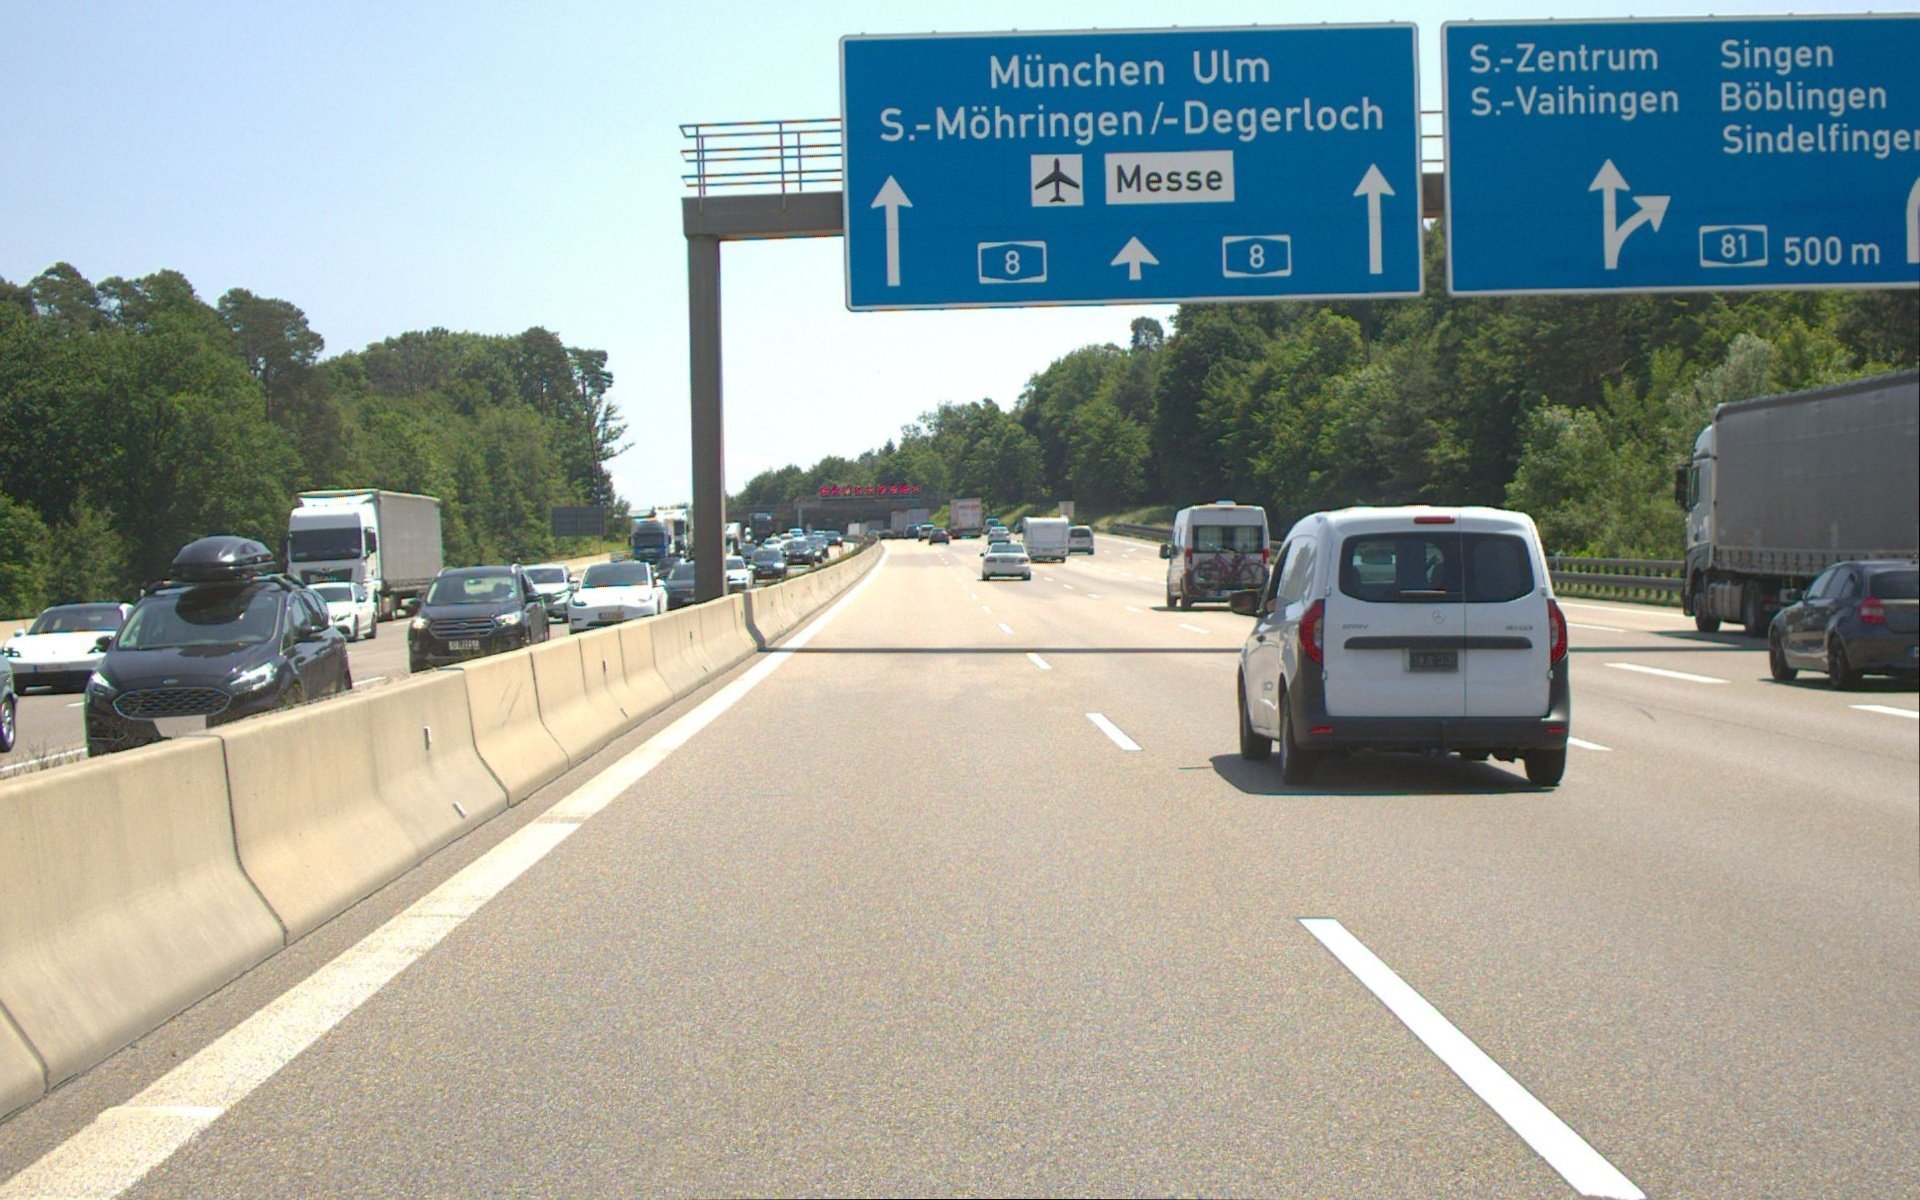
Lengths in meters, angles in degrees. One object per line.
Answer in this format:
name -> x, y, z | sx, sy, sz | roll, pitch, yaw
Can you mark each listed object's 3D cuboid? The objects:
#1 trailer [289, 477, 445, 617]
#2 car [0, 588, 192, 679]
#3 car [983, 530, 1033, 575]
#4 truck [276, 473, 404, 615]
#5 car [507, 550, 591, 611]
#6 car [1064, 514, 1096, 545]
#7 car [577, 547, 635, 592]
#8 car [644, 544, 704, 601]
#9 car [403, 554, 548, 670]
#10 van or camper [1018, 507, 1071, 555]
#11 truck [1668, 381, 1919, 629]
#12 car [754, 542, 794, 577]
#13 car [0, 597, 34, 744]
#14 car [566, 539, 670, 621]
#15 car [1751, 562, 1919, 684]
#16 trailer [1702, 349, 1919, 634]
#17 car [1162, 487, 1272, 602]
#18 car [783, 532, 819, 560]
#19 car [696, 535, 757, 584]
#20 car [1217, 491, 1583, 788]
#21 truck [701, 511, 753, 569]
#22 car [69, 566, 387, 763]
trailer -> -19.419, -1.660, 113.527 | 2.754, 4.231, 13.719 | -2, 0, -1
car -> -14.043, 0.512, 55.909 | 1.993, 1.302, 4.845 | -2, 1, 0
car -> 1.855, -1.846, 134.987 | 1.843, 1.623, 4.553 | -2, 0, 0
truck -> -19.341, -1.711, 107.516 | 2.760, 4.205, 6.378 | -2, 0, -1
car -> -11.377, -0.558, 95.327 | 1.818, 1.584, 4.883 | -2, 1, -1
car -> 7.599, -4.473, 217.579 | 1.820, 1.853, 4.000 | -2, 1, -1
car -> -11.988, -1.056, 116.676 | 1.548, 1.437, 4.725 | -1, 1, -1
car -> -8.179, -0.792, 98.472 | 1.536, 1.545, 4.071 | -2, 1, -3
car -> -7.520, 0.148, 53.698 | 1.754, 1.667, 4.204 | -2, 1, -2
van or camper -> 4.630, -3.809, 190.396 | 2.645, 2.530, 6.502 | -2, 0, -1
truck -> 14.610, -1.638, 59.857 | 3.254, 4.092, 5.988 | 0, 1, -1
car -> -8.463, -1.839, 156.523 | 1.723, 1.532, 5.056 | -2, 1, -3
car -> -10.449, 0.776, 33.891 | 1.549, 1.450, 3.840 | -3, 1, 0
car -> -7.444, -0.468, 75.173 | 1.812, 1.667, 4.476 | -2, 1, 0
car -> 10.125, 0.224, 38.128 | 1.670, 1.269, 4.290 | 1, 1, 0
trailer -> 14.748, -1.606, 53.081 | 3.287, 3.917, 13.892 | 0, 1, -1
car -> 6.166, -1.354, 83.002 | 2.143, 2.643, 5.710 | -1, 1, 0
car -> -9.473, -3.202, 204.828 | 1.993, 1.612, 4.000 | -2, 1, -1
car -> -8.341, -1.469, 123.185 | 1.846, 1.545, 5.215 | -4, 1, -1
car -> 2.892, 0.231, 23.556 | 1.859, 1.819, 4.612 | -1, 0, -1
truck -> -11.931, -3.093, 176.759 | 2.138, 2.828, 7.670 | -2, 1, -1
car -> -6.837, 0.537, 32.683 | 1.870, 1.600, 5.228 | -2, 1, 0
